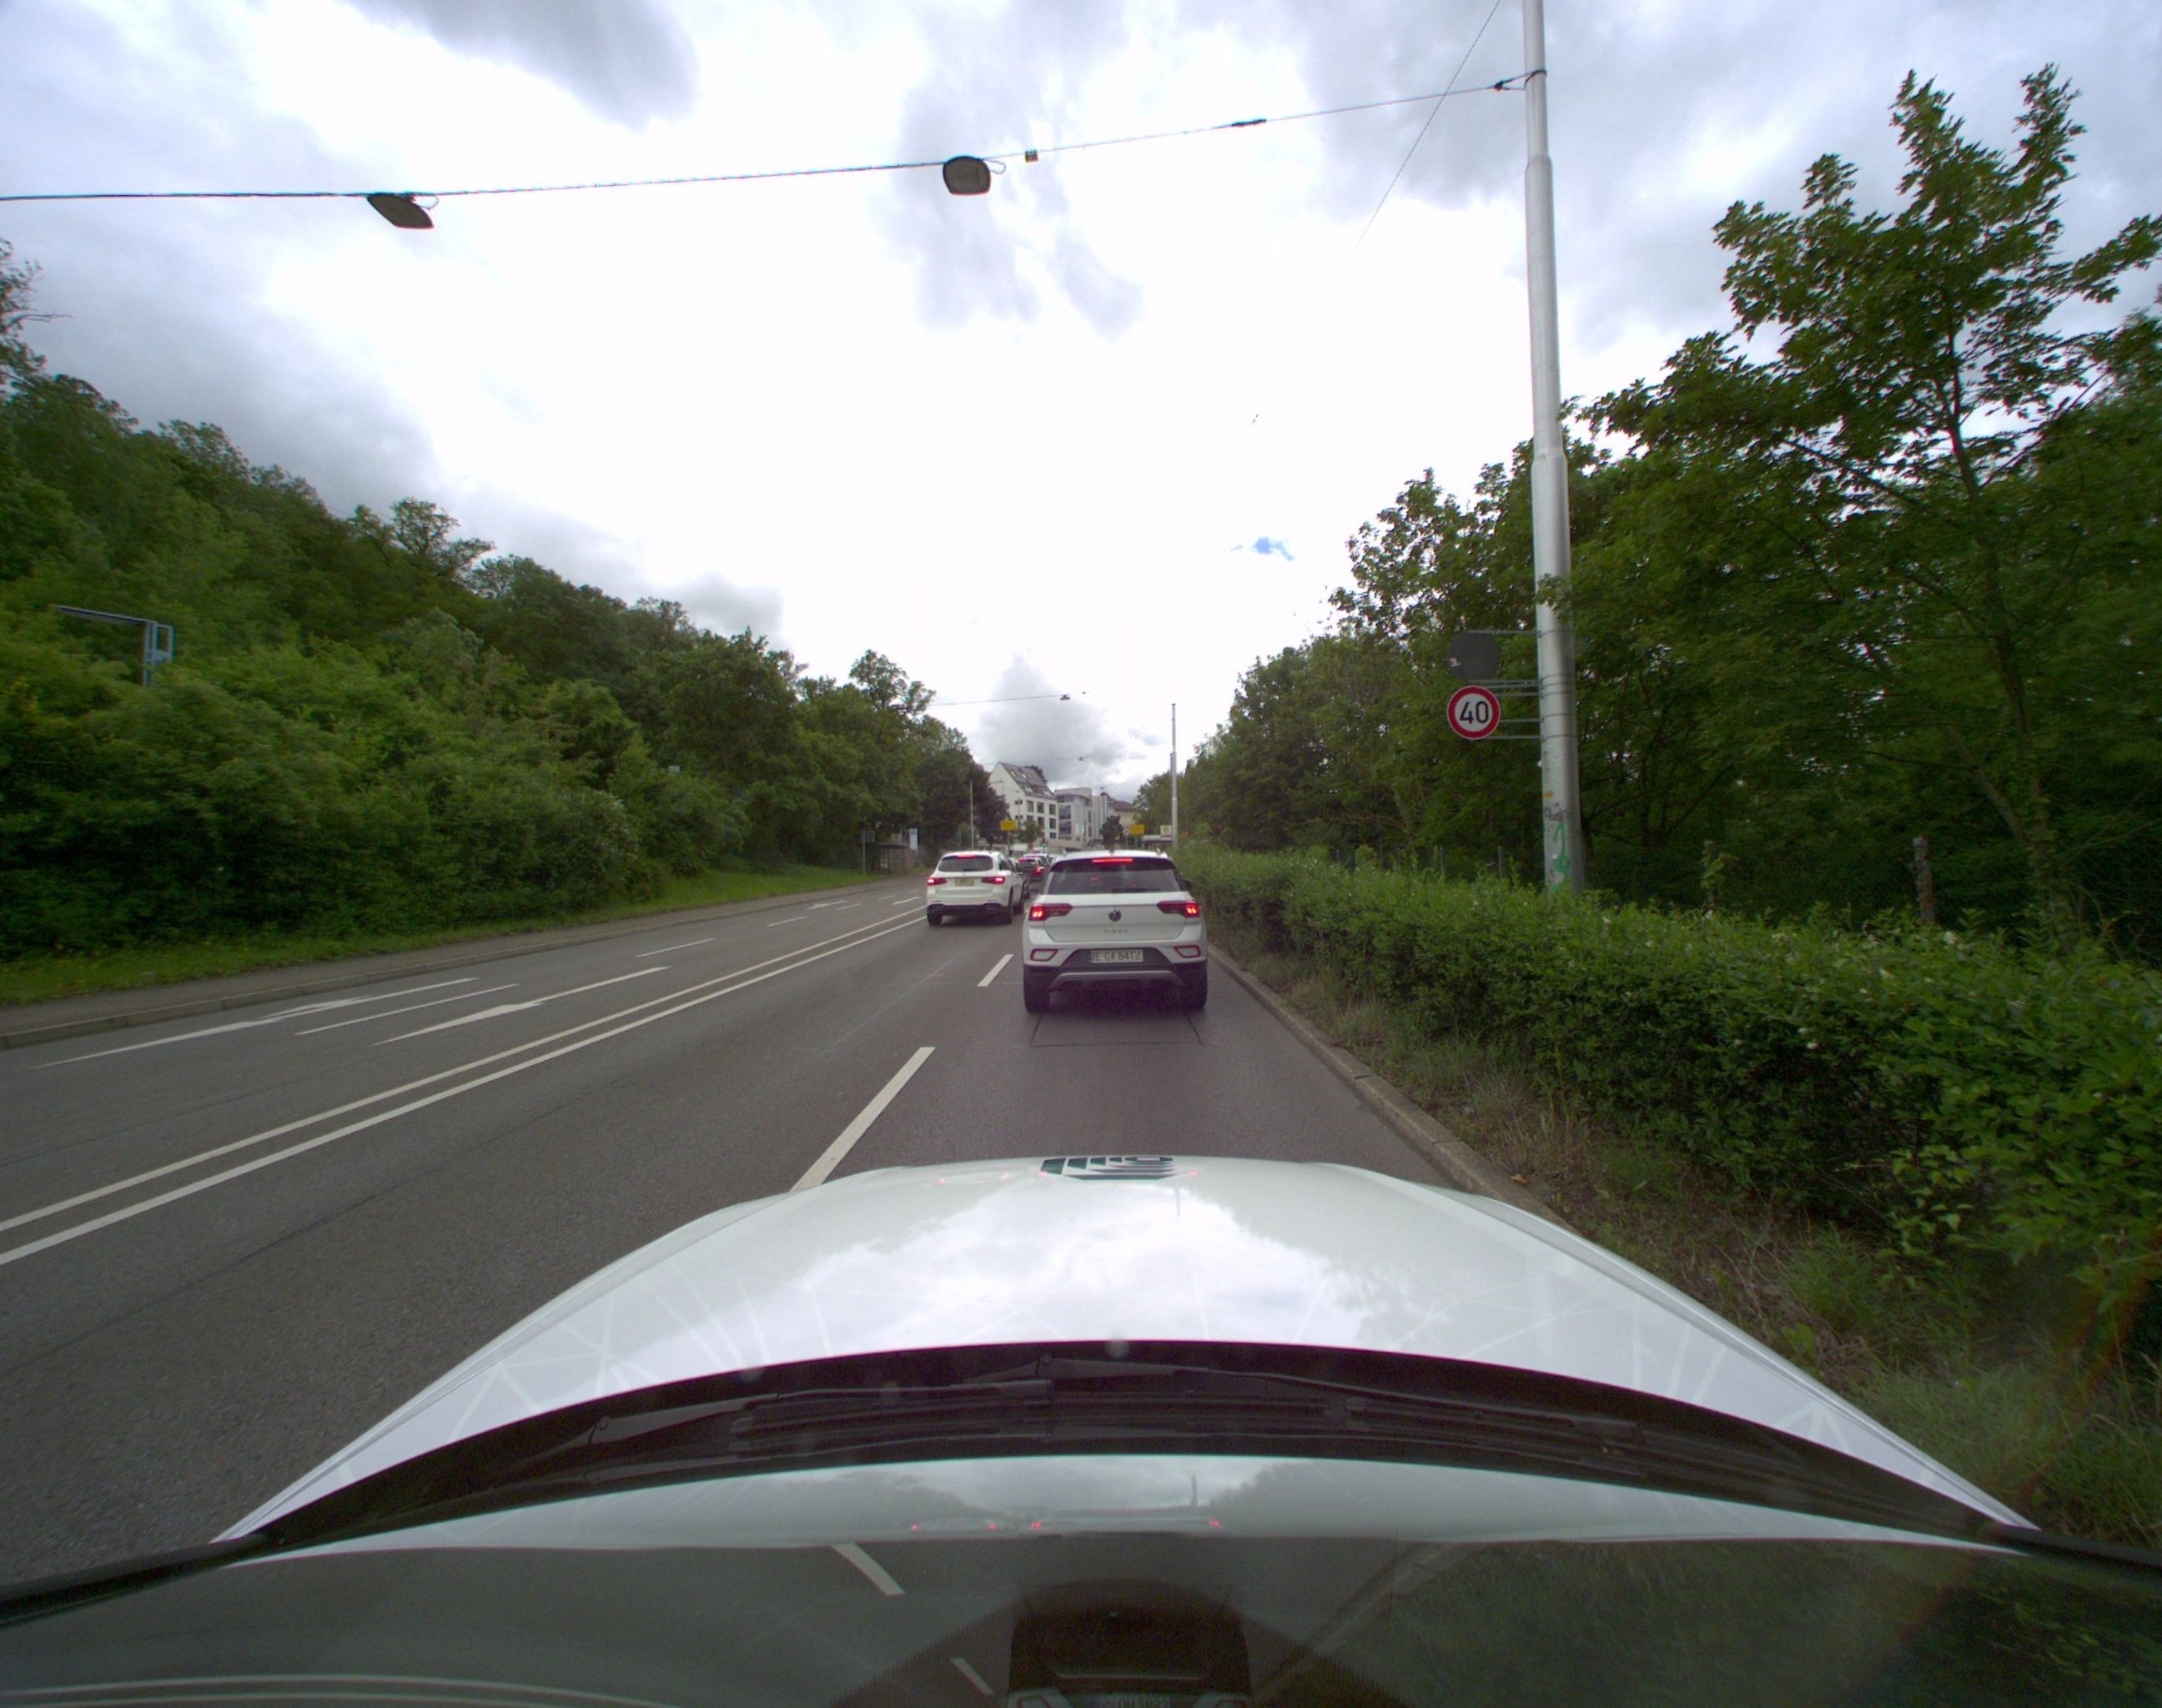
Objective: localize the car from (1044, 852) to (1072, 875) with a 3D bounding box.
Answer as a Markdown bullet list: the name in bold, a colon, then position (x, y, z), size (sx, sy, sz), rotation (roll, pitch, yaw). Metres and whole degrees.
- **car**: position (-1.625, 0.683, 59.020), size (1.823, 1.526, 4.001), rotation (-2, 0, 1)

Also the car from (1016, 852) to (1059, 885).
- **car**: position (-2.171, 0.699, 41.317), size (1.823, 1.526, 4.001), rotation (-2, 0, 1)

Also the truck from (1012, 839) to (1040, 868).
- **truck**: position (-5.618, -0.067, 83.421), size (2.354, 2.706, 4.478), rotation (-3, 0, 1)

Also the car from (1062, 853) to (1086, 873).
- **car**: position (-0.584, 0.756, 67.659), size (1.823, 1.526, 4.001), rotation (-2, 0, 1)

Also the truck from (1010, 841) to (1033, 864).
- **truck**: position (-8.444, -0.205, 116.462), size (2.283, 3.051, 6.985), rotation (-3, 0, 3)

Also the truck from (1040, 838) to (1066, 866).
- **truck**: position (-3.005, -0.204, 88.116), size (2.354, 2.782, 4.478), rotation (-3, 0, 1)

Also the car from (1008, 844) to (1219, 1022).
- **car**: position (0.325, 0.697, 9.209), size (1.823, 1.526, 4.001), rotation (-2, 0, 1)

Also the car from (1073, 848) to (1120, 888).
- **car**: position (0.667, 0.563, 34.777), size (1.823, 1.526, 4.001), rotation (-2, 0, 1)

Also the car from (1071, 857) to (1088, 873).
- **car**: position (-0.169, 1.200, 93.397), size (1.809, 1.656, 3.929), rotation (-3, 0, 1)

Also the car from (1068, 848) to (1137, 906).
- **car**: position (0.621, 0.622, 24.184), size (1.823, 1.526, 4.001), rotation (-2, 0, 1)

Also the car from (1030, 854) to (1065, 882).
- **car**: position (-1.970, 0.815, 49.198), size (1.823, 1.526, 4.001), rotation (-2, 0, 1)

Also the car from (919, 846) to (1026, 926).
- **car**: position (-2.433, 0.680, 19.230), size (1.911, 1.669, 4.001), rotation (-1, 0, 1)

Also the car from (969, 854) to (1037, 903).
- **car**: position (-2.602, 0.770, 28.091), size (1.823, 1.497, 4.001), rotation (-2, 0, 1)

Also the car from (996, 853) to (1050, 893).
- **car**: position (-2.370, 0.740, 34.216), size (1.823, 1.526, 4.001), rotation (-2, 0, 1)

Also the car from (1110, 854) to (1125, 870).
- **car**: position (5.010, 1.127, 112.462), size (1.986, 2.013, 4.001), rotation (-3, 0, 1)

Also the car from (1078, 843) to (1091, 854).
- **car**: position (0.543, -0.765, 119.356), size (1.823, 1.526, 4.001), rotation (-2, 0, 1)

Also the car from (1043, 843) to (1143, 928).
- **car**: position (0.259, 0.584, 17.312), size (1.823, 1.526, 4.001), rotation (-2, 0, 1)

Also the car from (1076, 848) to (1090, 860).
- **car**: position (0.289, -0.048, 112.627), size (1.823, 1.526, 4.001), rotation (-2, 0, 1)
